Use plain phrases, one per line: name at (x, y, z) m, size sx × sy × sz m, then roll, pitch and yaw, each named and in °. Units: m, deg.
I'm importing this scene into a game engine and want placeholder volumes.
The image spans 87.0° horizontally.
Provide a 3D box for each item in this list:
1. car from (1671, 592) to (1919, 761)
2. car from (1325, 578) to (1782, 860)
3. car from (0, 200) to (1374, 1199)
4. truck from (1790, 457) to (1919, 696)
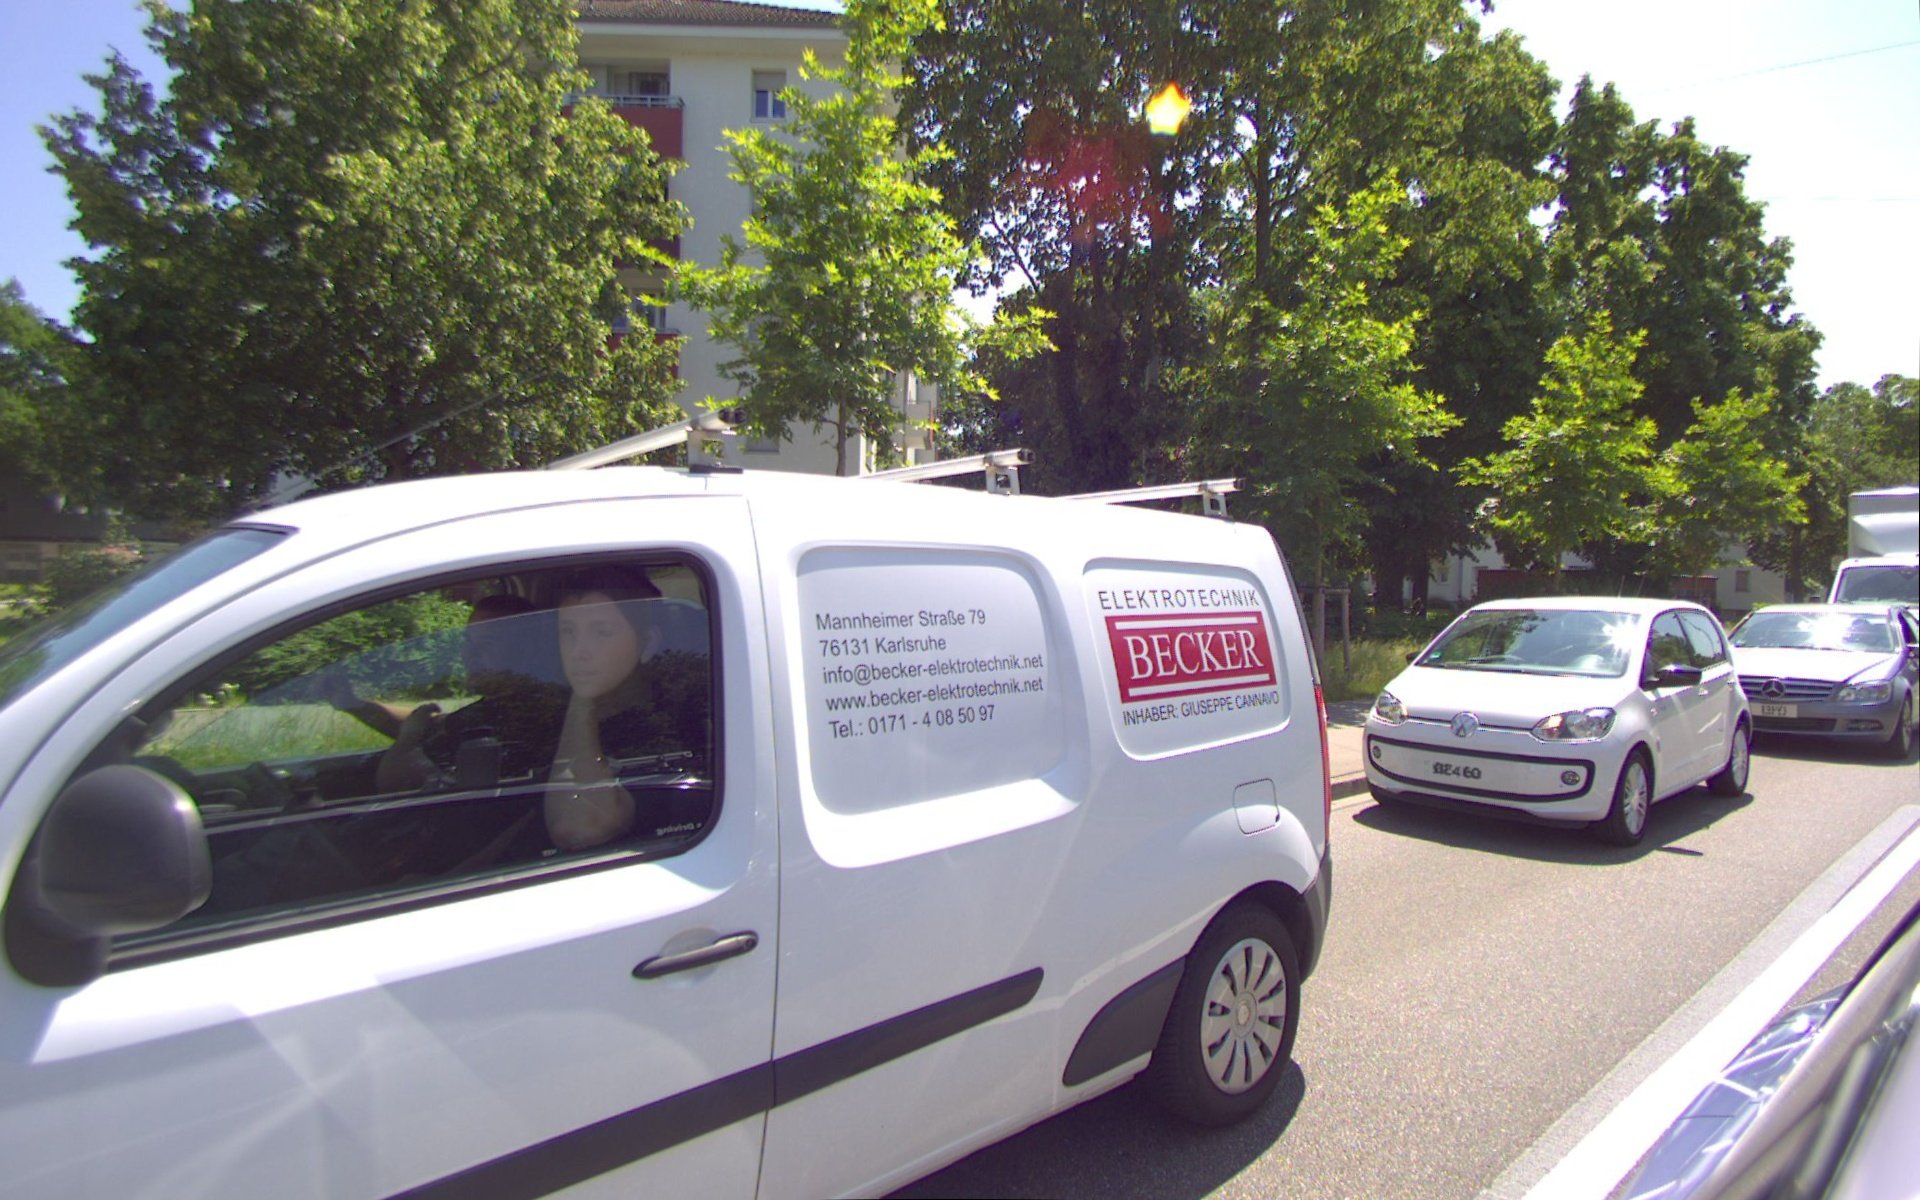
car at (9.232, 0.651, 10.739) m, size 4.016 × 1.426 × 1.839 m, roll 0°, pitch 1°, yaw -41°
car at (4.399, 0.618, 7.289) m, size 3.705 × 1.497 × 1.729 m, roll 0°, pitch 1°, yaw -41°
car at (-0.994, 0.451, 2.535) m, size 4.370 × 1.849 × 1.997 m, roll 0°, pitch 1°, yaw -41°
truck at (16.504, -0.341, 16.965) m, size 7.778 × 3.387 × 2.434 m, roll 0°, pitch 1°, yaw -39°
